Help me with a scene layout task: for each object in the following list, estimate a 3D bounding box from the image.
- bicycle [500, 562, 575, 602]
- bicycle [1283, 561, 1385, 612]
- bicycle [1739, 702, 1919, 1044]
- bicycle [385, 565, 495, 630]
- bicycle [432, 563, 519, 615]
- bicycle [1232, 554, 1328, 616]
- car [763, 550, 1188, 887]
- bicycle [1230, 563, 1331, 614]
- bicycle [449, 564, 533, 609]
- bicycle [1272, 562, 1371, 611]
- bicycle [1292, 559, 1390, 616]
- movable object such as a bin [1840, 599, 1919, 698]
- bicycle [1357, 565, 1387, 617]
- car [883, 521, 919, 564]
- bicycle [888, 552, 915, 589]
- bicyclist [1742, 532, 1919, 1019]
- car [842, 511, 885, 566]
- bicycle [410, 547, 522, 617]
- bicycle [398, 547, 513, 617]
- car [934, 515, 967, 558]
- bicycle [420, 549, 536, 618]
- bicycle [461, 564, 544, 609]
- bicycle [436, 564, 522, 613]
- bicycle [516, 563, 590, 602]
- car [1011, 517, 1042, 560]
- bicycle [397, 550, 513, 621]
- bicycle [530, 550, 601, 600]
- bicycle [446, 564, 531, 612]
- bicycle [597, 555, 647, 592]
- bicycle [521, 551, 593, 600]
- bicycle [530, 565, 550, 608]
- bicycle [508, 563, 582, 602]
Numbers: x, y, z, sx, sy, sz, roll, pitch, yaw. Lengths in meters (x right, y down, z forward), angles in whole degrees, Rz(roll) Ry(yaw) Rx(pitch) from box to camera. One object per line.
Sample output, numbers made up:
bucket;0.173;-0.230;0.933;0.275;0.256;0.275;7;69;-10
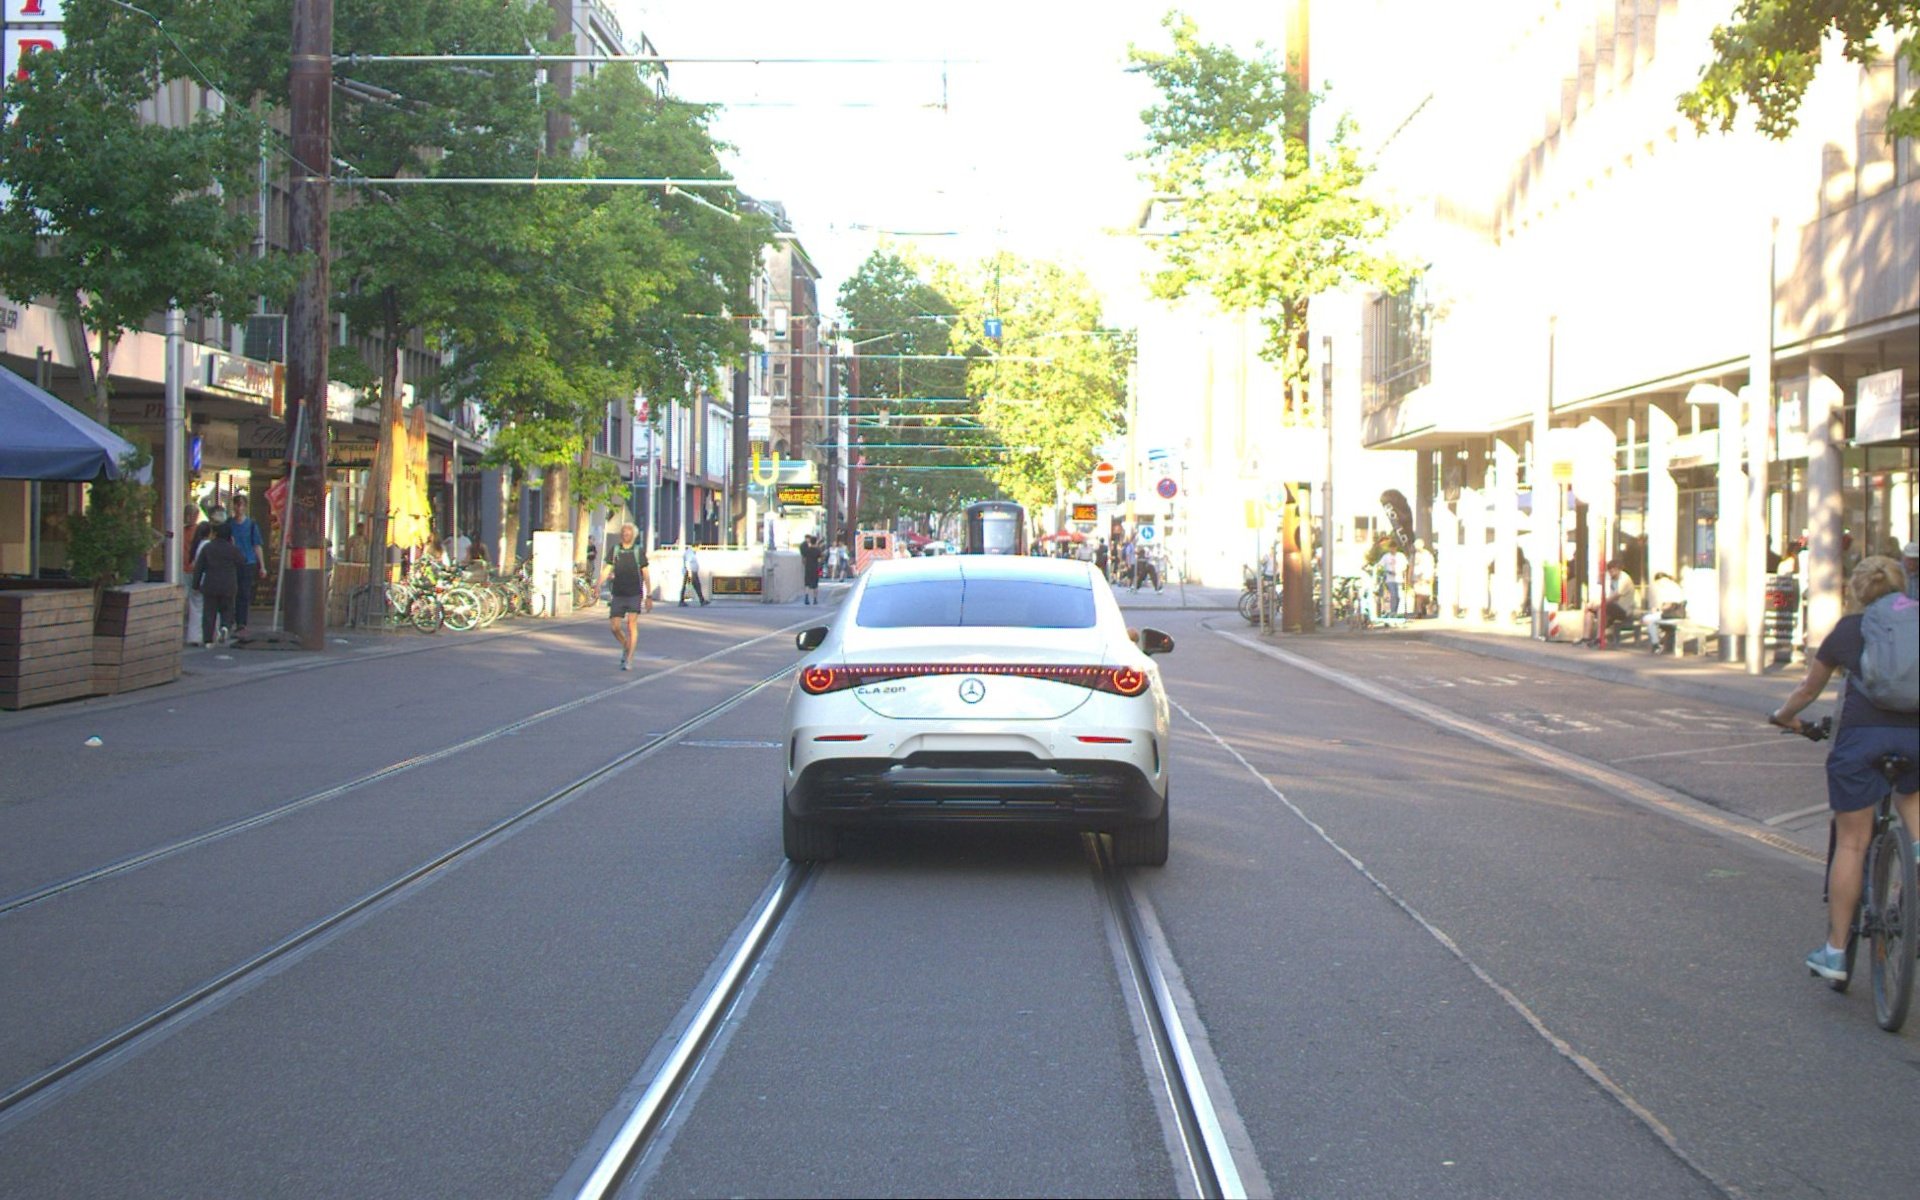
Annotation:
bicycle;-8.783;-0.371;71.437;1.493;0.780;0.344;2;1;2
bicycle;8.145;-0.298;74.921;2.113;1.092;0.610;0;1;-12
bicycle;3.195;0.919;12.133;0.719;0.992;2.058;3;1;10
bicycle;-7.931;-0.045;52.420;1.596;0.927;0.377;2;1;8
bicycle;-8.636;-0.201;61.262;1.492;0.873;0.345;2;1;-5
bicycle;6.762;-0.321;72.632;1.908;1.277;0.610;-1;1;-10
car;0.086;0.495;17.264;1.857;1.450;4.175;1;1;1
bicycle;7.040;-0.257;75.613;2.113;1.092;0.610;1;0;-10
bicycle;-8.709;-0.245;63.886;1.493;0.780;0.344;2;1;2
bicycle;8.102;-0.299;77.121;2.113;1.092;0.610;0;1;-10
bicycle;7.957;-0.261;71.799;1.908;1.152;0.610;-1;1;-10
movable object such as a bin;9.049;0.474;33.602;0.690;0.921;0.718;2;1;1
bicycle;9.242;-0.201;77.145;0.564;1.124;1.929;-1;1;4
car;-3.477;-3.398;202.649;1.910;2.452;5.275;0;1;1
bicycle;-1.842;-0.933;108.304;0.800;1.138;2.257;2;1;-1
bicyclist;3.182;0.586;11.962;0.778;1.607;0.912;3;1;10
car;-5.139;-3.289;183.828;1.993;2.887;5.275;0;1;1
bicycle;-8.531;-0.312;59.414;1.846;1.137;0.377;2;1;2
bicycle;-8.186;-0.299;55.796;1.788;1.073;0.377;2;1;-3
car;-0.642;-4.314;234.634;2.099;2.887;5.275;0;1;1
bicycle;-7.979;-0.279;56.957;1.846;1.073;0.377;2;1;-3
bicycle;-8.593;-0.249;64.565;1.493;0.780;0.344;2;1;2
bicycle;-8.752;-0.216;62.591;1.493;0.838;0.344;2;1;2
bicycle;-8.624;-0.371;72.871;1.493;0.780;0.344;2;1;2
car;4.559;-4.225;234.843;2.099;2.887;5.285;0;1;1
bicycle;-8.131;-0.229;55.333;1.788;1.073;0.377;2;1;-3
bicycle;-8.560;-0.537;74.634;1.492;1.025;0.345;2;1;-9
bicycle;-8.689;-0.221;63.320;1.493;0.838;0.344;2;1;2
bicycle;-9.417;-0.748;95.853;0.719;1.006;2.038;1;1;15
bicycle;-8.699;-0.529;74.199;1.492;1.006;0.345;2;1;-9
bicycle;-8.007;-0.269;65.516;0.343;0.780;1.405;2;1;-7
bicycle;-8.751;-0.367;72.511;1.493;0.780;0.344;2;1;2
